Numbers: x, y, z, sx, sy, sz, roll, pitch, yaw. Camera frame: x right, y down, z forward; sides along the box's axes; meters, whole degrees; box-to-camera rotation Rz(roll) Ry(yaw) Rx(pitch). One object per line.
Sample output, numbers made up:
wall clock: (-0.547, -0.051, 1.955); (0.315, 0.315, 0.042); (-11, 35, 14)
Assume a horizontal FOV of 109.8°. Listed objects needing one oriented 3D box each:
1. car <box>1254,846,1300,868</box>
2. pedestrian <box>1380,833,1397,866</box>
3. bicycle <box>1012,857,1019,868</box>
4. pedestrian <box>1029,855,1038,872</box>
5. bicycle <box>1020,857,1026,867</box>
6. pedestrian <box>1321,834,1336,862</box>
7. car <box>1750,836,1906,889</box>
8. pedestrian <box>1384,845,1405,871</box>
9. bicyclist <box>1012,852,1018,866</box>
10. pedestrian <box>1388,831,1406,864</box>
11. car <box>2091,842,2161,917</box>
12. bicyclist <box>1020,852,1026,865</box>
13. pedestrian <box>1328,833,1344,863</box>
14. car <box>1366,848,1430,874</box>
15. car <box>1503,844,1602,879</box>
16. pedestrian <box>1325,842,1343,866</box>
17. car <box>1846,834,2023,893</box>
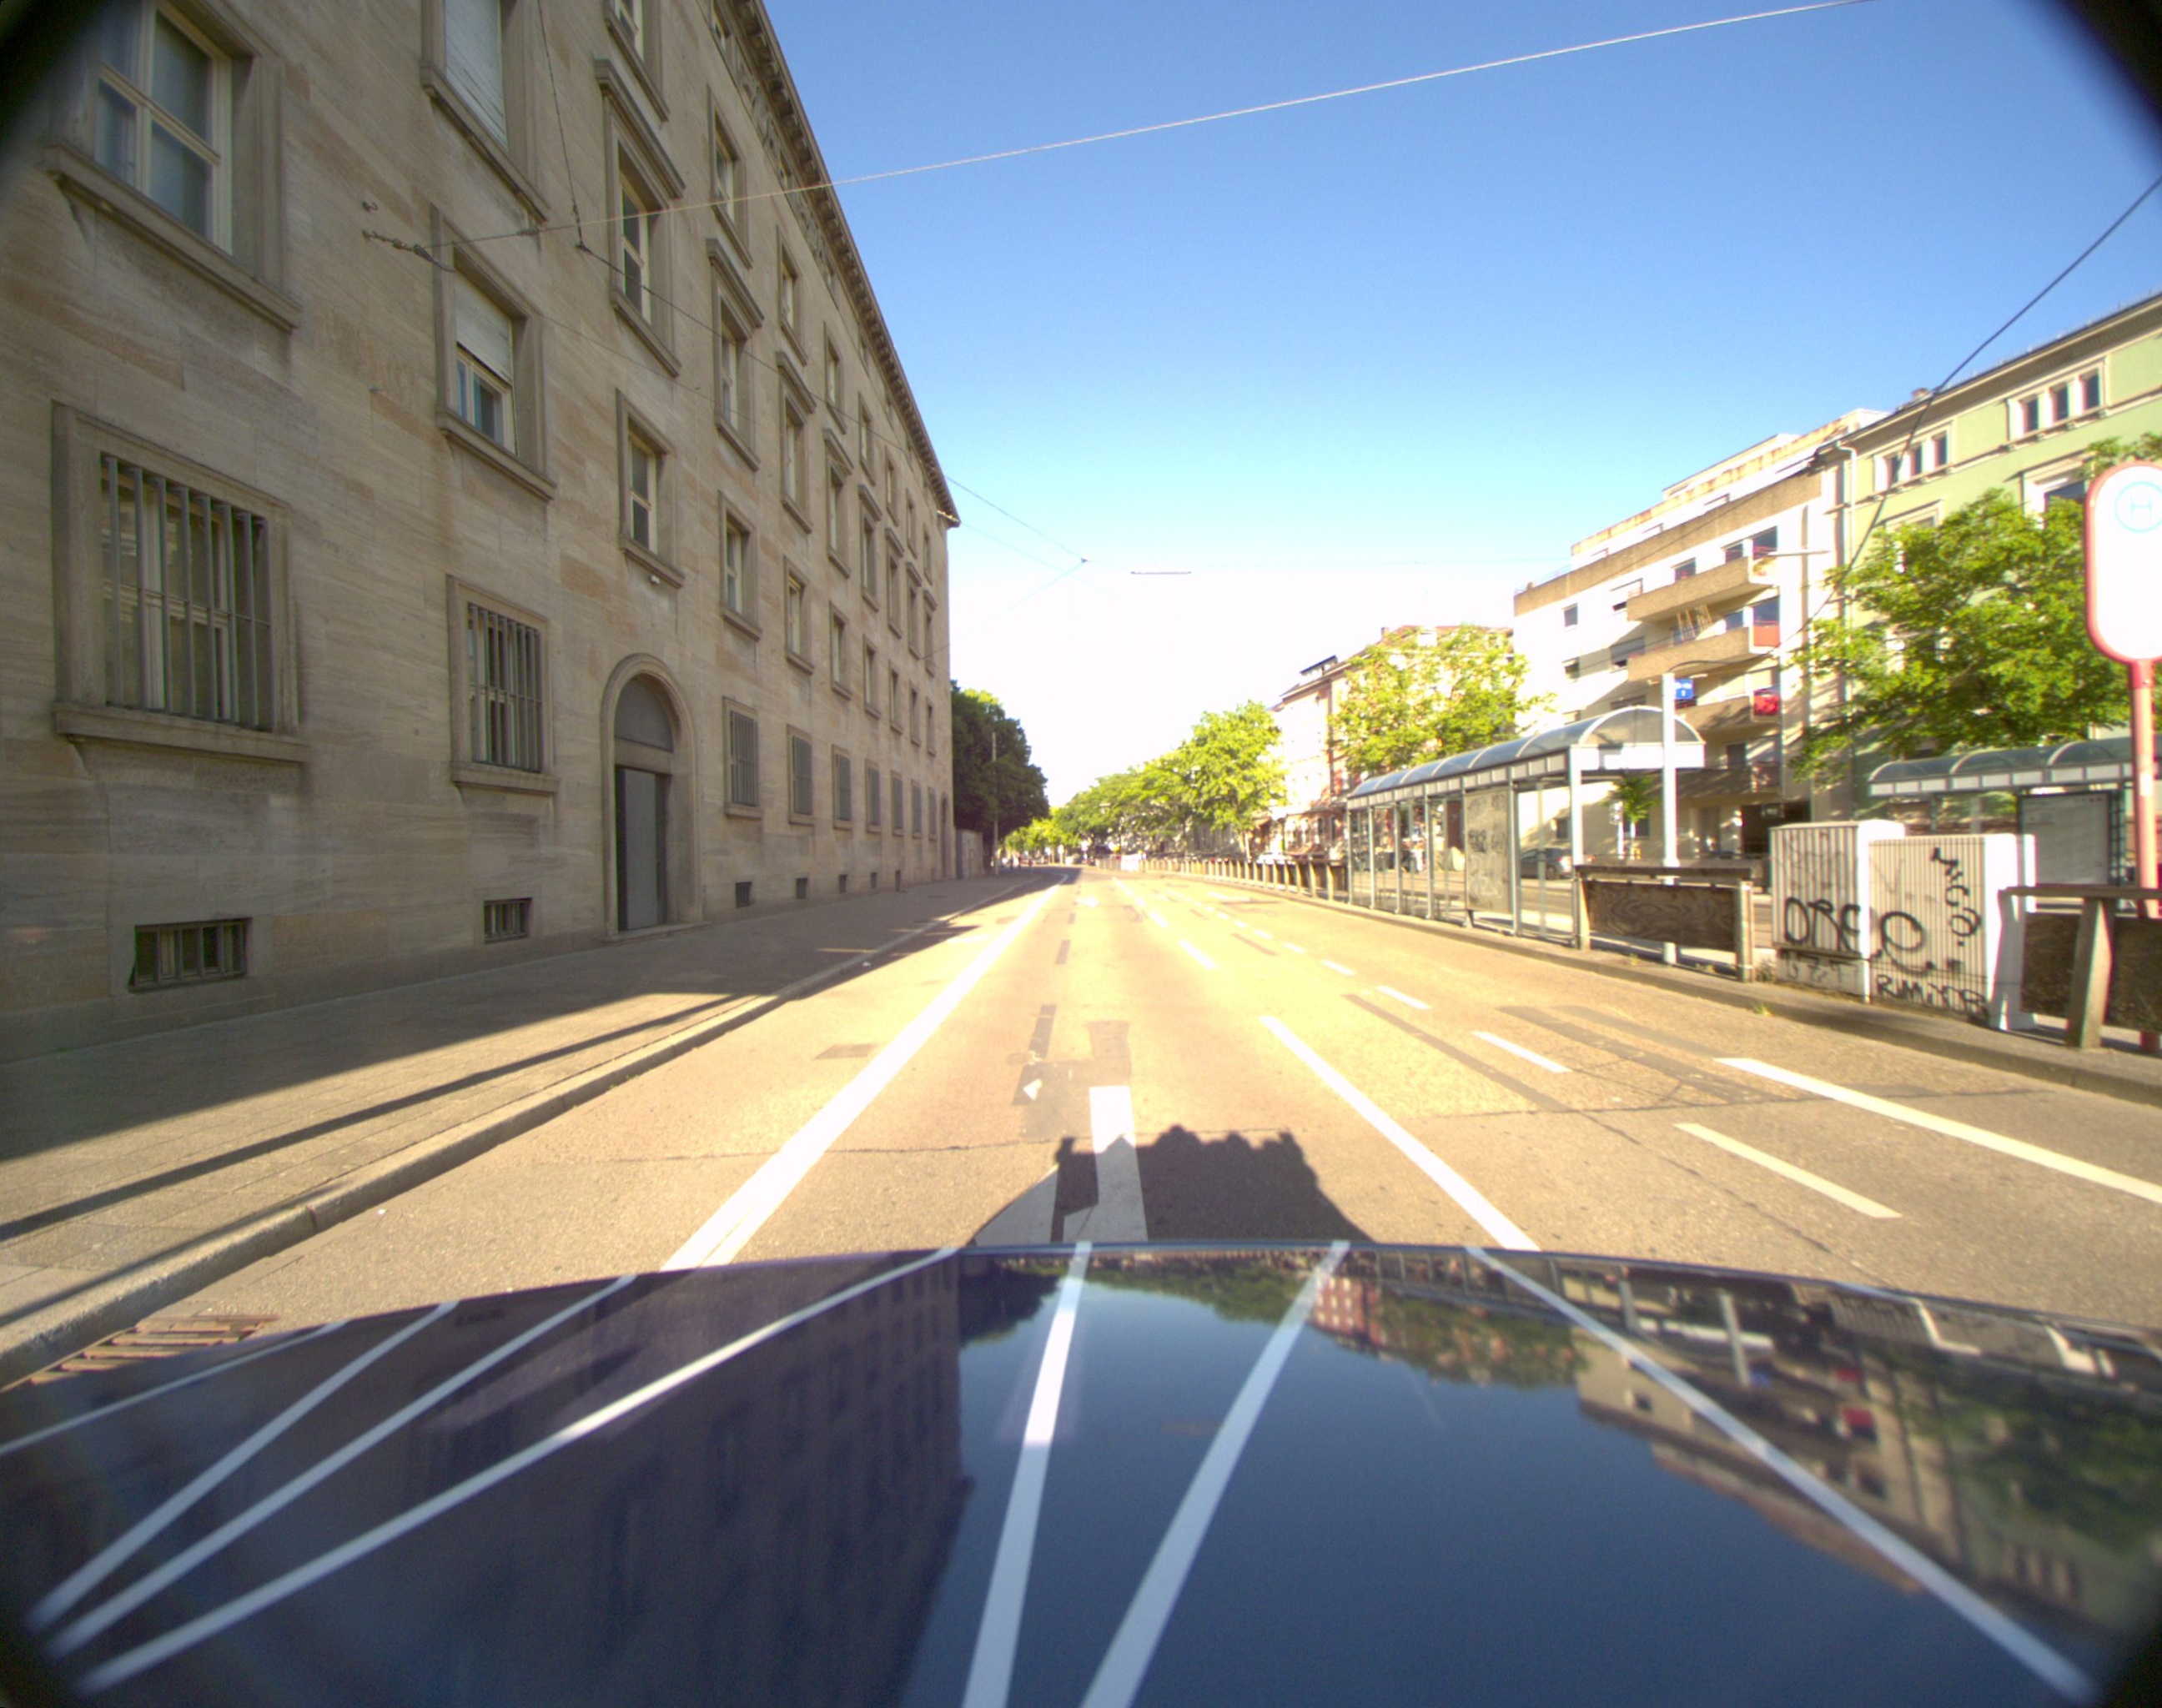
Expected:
car: (16.451, 0.245, 63.786); (4.134, 1.698, 1.848); (-1, 1, -45)
pedestrian: (21.195, -0.312, 52.417); (0.813, 2.194, 0.756); (-1, 1, -10)
bicycle: (-8.340, 1.074, 96.458); (0.625, 1.214, 1.659); (-3, 1, 1)
pedestrian: (-3.678, 0.755, 58.900); (0.548, 1.327, 0.587); (-1, 1, 7)
bicycle: (-7.372, 1.003, 96.377); (0.625, 1.167, 1.566); (0, 0, 1)
pedestrian: (19.281, -0.473, 59.172); (0.812, 2.194, 0.756); (-1, 1, -4)
car: (23.951, 0.241, 24.402); (4.002, 1.573, 1.761); (-1, 0, -14)
pedestrian: (19.623, 0.242, 47.580); (0.870, 1.619, 0.889); (-2, 1, -42)
bicyclist: (-8.368, 0.613, 96.586); (0.625, 1.729, 0.688); (-3, 1, 1)
pedestrian: (21.310, -0.463, 51.229); (0.813, 2.194, 0.756); (-1, 1, -10)
car: (20.986, 0.469, 13.179); (1.670, 1.400, 3.877); (0, 0, -5)
bicyclist: (-7.362, 0.556, 96.418); (0.728, 1.570, 0.775); (0, 1, 1)
pedestrian: (19.290, -0.455, 57.477); (0.813, 2.194, 0.756); (-1, 1, -10)
car: (18.529, 0.395, 44.635); (1.609, 1.388, 3.997); (-1, 0, -9)
car: (20.937, 0.319, 33.917); (1.654, 1.419, 3.737); (-1, 0, -11)
pedestrian: (18.446, -0.004, 55.392); (0.855, 1.710, 1.019); (-1, 1, -8)
car: (24.650, 0.241, 21.976); (4.002, 1.573, 1.761); (-1, 0, -14)
